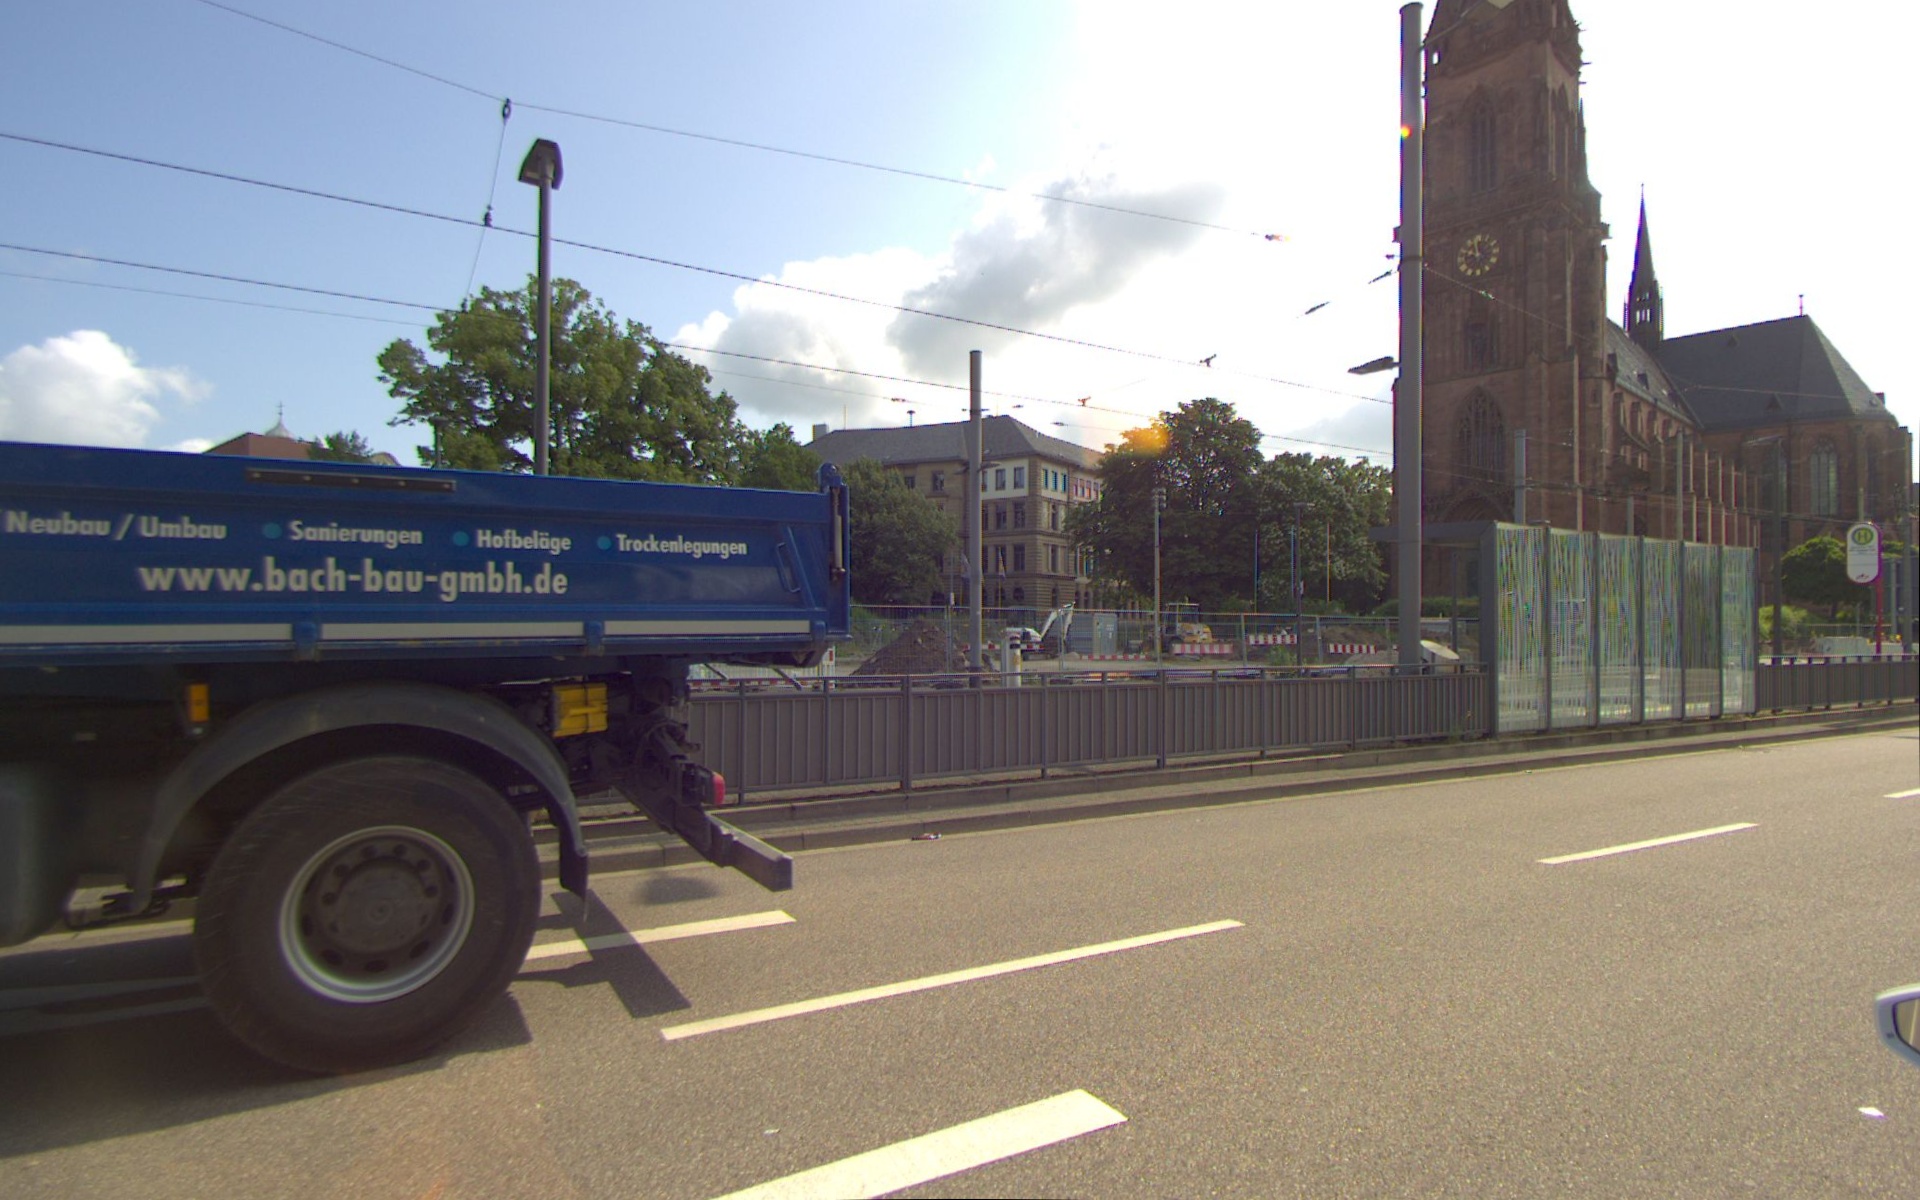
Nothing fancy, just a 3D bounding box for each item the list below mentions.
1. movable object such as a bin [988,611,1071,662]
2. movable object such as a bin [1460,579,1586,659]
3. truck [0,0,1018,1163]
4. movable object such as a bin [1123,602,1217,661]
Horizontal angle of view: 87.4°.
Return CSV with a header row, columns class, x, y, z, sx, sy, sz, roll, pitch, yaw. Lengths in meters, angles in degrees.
class,x,y,z,sx,sy,sz,roll,pitch,yaw
movable object such as a bin,3.262,1.667,46.628,1.967,2.235,4.259,-1,-2,35
movable object such as a bin,27.952,0.973,49.860,5.513,3.780,2.660,1,-1,-23
truck,-3.512,-0.223,3.857,7.362,3.696,2.452,1,-2,-30
movable object such as a bin,10.594,1.588,51.054,1.976,2.839,4.882,1,-2,-29
